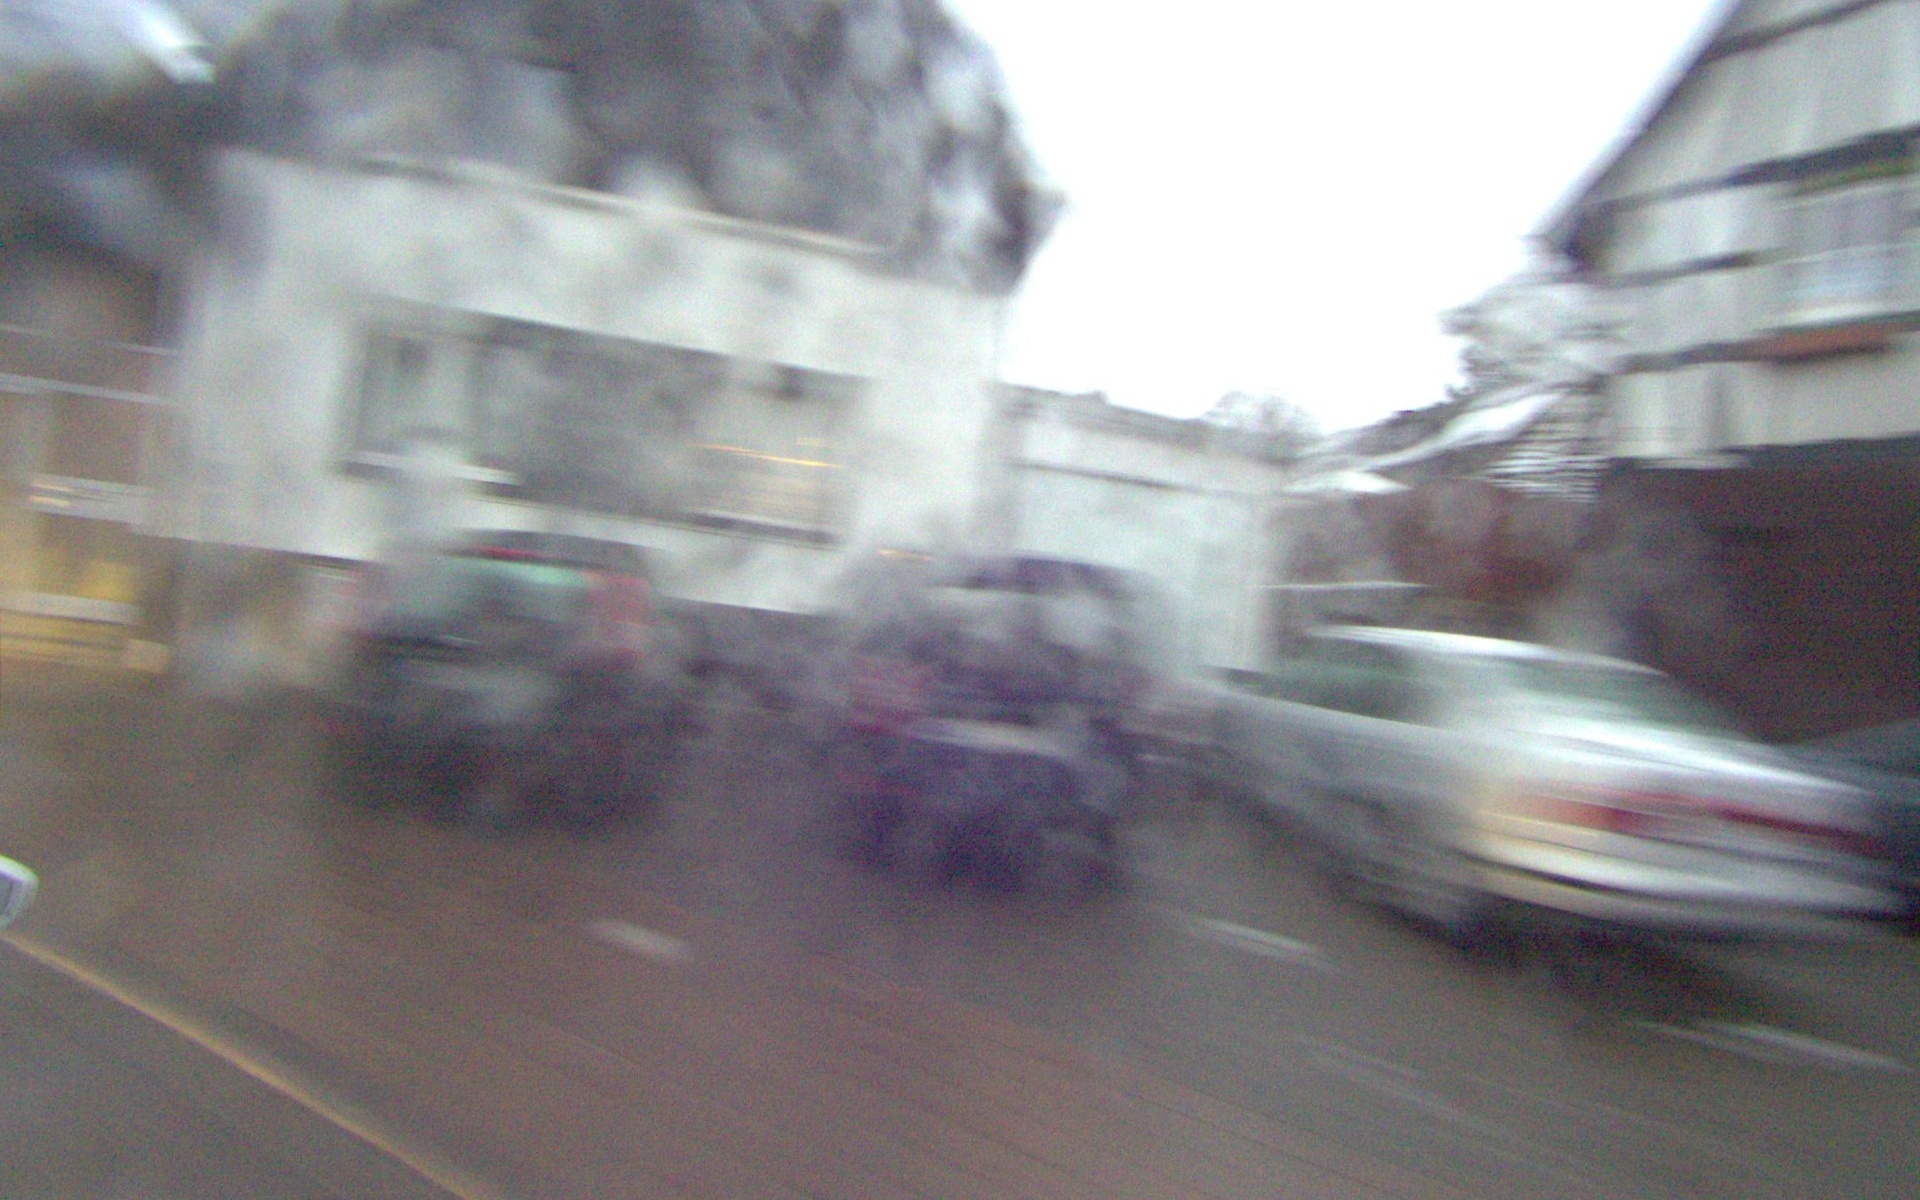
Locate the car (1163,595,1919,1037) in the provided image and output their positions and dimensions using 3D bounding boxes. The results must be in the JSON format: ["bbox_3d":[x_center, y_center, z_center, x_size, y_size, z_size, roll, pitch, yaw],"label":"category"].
[{"bbox_3d":[2.859,0.891,5.963,1.784,1.440,4.026,5,3,-10],"label":"car"}]

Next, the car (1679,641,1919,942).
[{"bbox_3d":[6.346,1.258,5.231,1.573,1.536,3.966,5,3,-17],"label":"car"}]

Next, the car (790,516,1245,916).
[{"bbox_3d":[-0.081,0.424,6.692,1.824,1.683,4.462,5,3,-11],"label":"car"}]

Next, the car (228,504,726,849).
[{"bbox_3d":[-2.667,0.271,6.598,1.856,1.470,3.882,6,3,-10],"label":"car"}]
